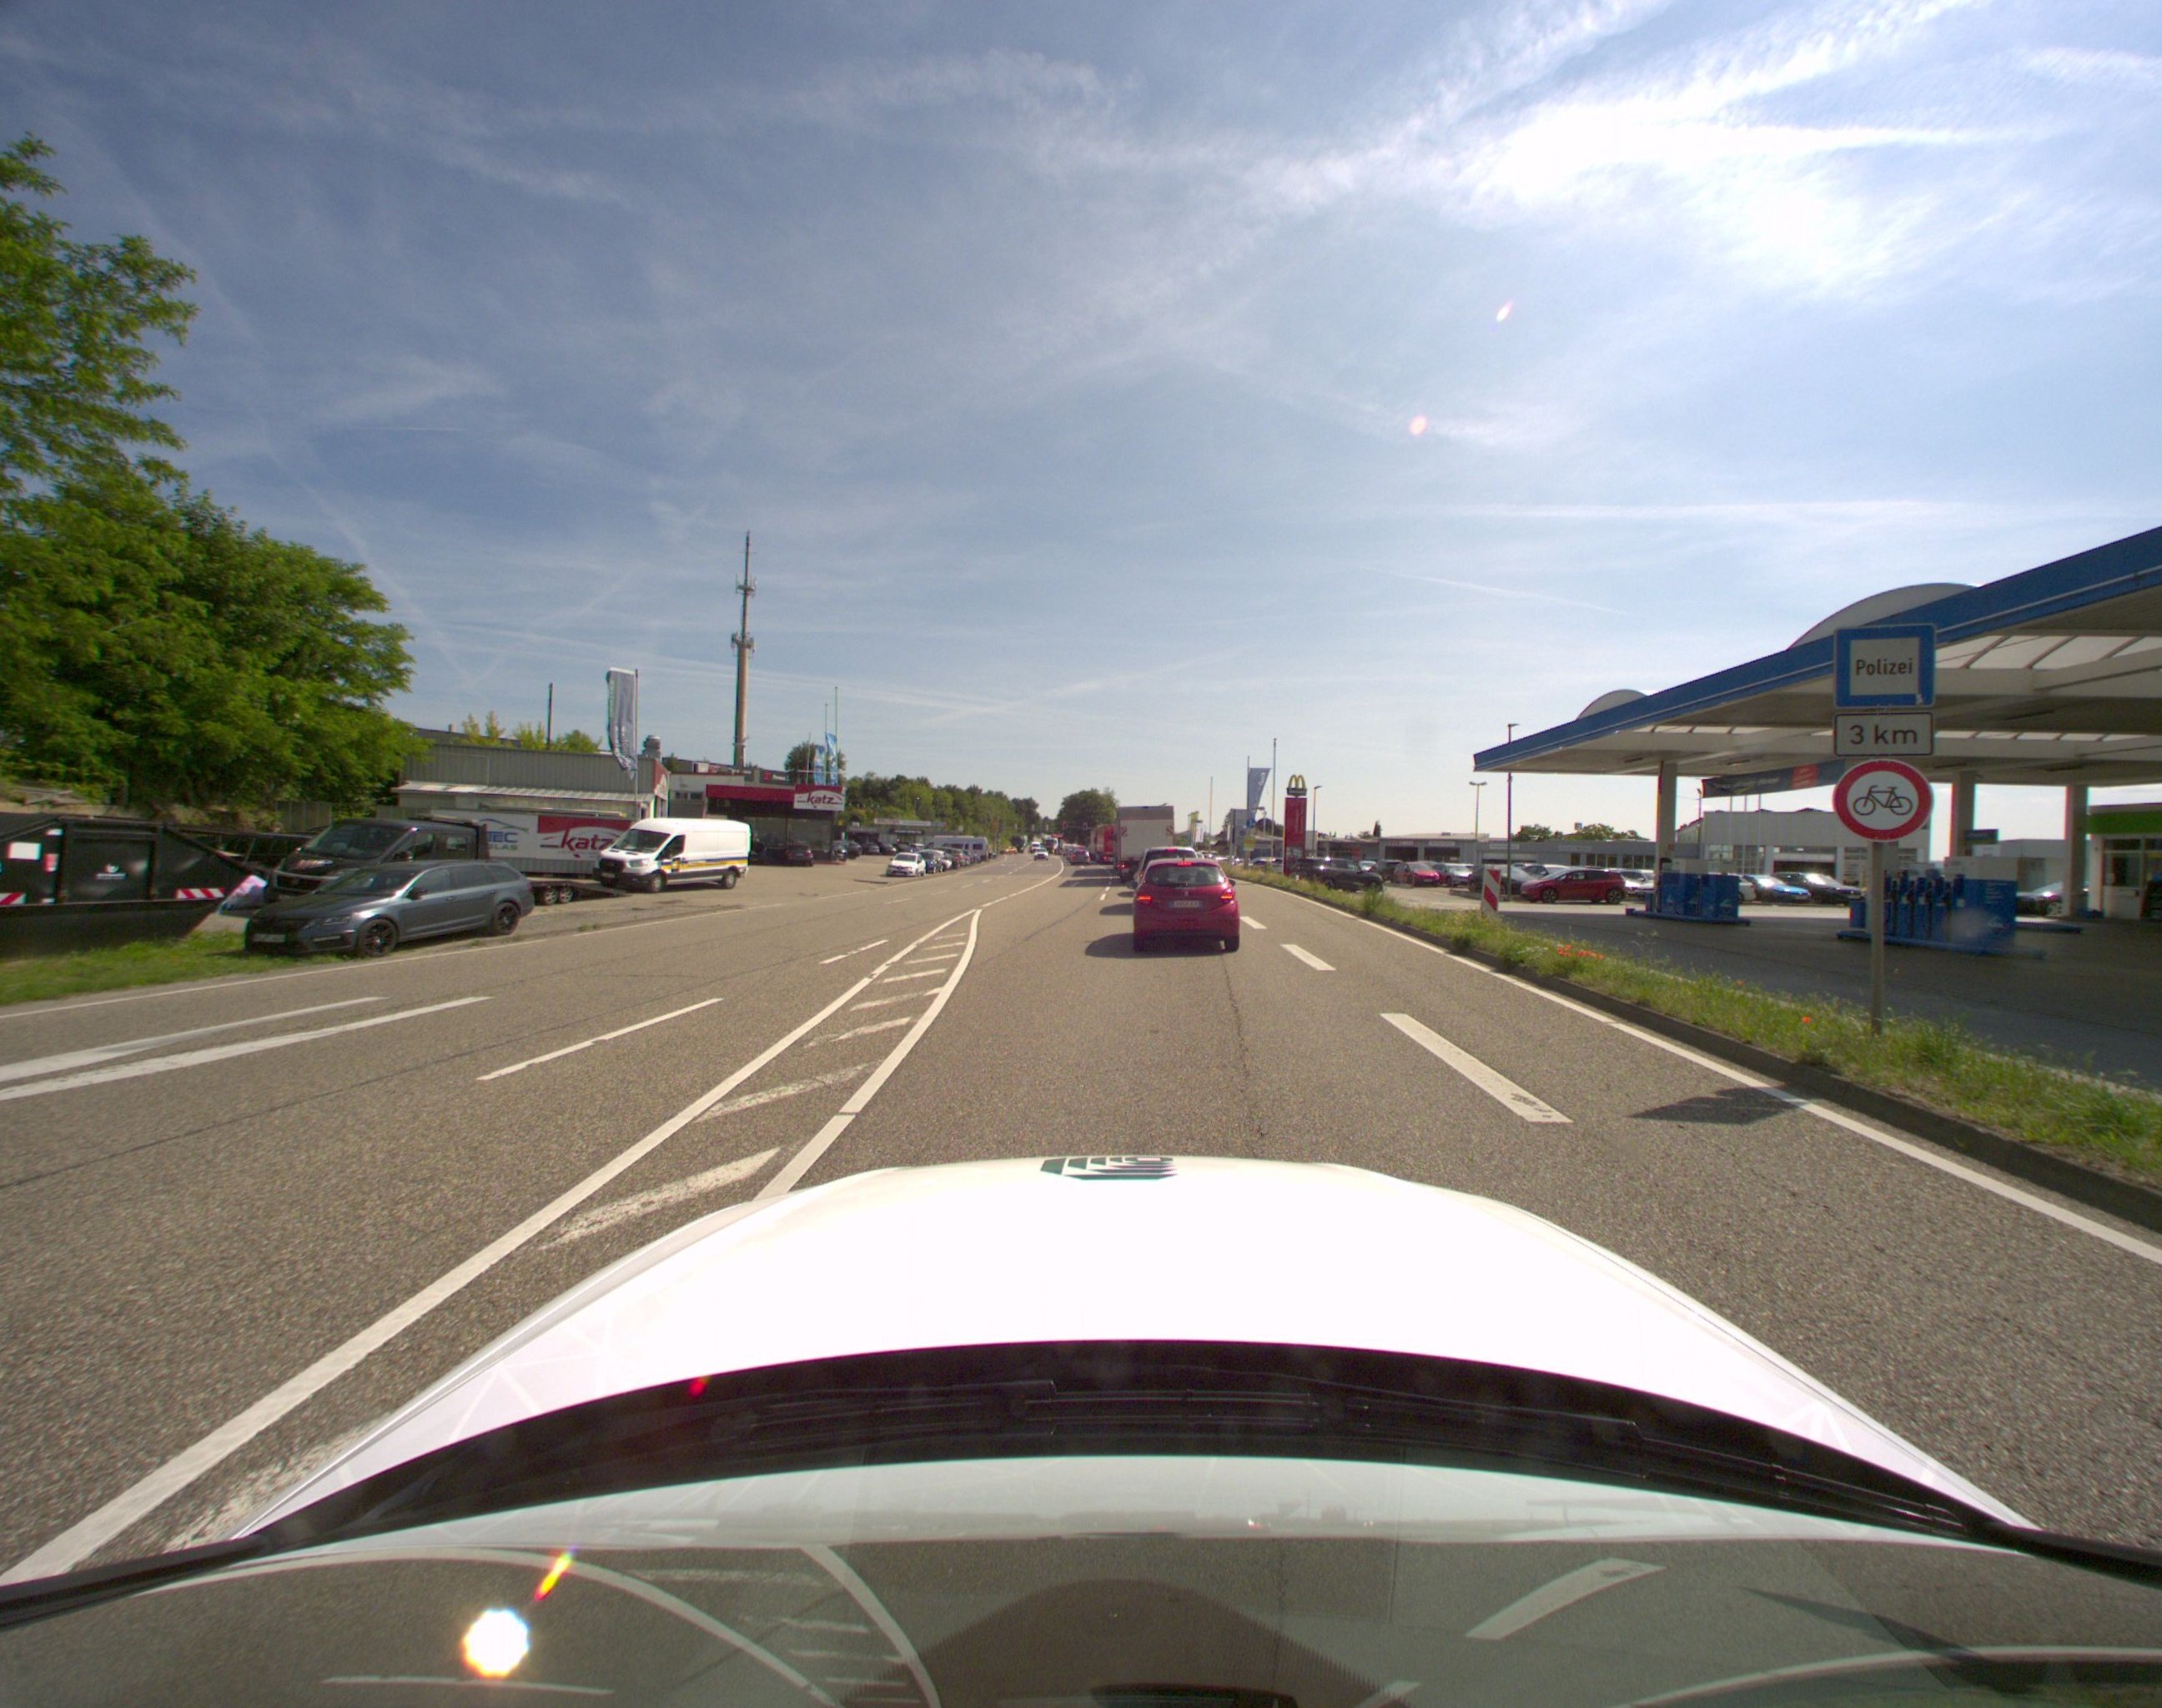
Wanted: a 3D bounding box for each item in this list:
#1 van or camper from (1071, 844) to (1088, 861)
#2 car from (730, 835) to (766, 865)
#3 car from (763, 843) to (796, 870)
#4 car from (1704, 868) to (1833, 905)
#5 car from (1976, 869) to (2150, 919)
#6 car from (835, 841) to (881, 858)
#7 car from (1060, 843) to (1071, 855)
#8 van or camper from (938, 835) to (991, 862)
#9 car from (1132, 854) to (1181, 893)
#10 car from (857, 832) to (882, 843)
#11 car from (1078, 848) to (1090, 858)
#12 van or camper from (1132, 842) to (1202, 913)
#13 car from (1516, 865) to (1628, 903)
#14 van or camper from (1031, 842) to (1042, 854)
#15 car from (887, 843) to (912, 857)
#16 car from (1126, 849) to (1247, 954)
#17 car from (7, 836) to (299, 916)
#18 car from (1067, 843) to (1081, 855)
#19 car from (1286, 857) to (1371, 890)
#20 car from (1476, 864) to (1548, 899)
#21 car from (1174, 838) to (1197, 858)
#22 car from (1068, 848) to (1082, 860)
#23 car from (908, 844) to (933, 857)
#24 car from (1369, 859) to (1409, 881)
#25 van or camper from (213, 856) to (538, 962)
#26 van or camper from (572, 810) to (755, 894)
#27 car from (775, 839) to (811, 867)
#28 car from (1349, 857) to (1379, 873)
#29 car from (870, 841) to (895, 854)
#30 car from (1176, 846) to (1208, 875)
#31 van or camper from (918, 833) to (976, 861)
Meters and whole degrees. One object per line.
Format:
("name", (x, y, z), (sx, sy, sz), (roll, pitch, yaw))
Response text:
("van or camper", (-0.170, -0.139, 94.687), (1.848, 1.905, 3.782), (1, 1, -2))
("car", (-20.865, -0.275, 50.899), (1.862, 1.504, 3.969), (5, 1, -24))
("car", (-21.429, 0.175, 57.789), (1.707, 1.759, 3.730), (4, -1, -26))
("car", (30.280, 1.426, 35.946), (4.312, 1.494, 1.564), (1, 0, 1))
("car", (35.553, 1.412, 29.577), (3.968, 1.637, 1.757), (1, 0, 5))
("car", (-20.994, -0.446, 76.551), (3.956, 1.532, 1.755), (0, 0, -25))
("car", (-2.594, -0.810, 135.250), (1.720, 1.909, 3.313), (1, 0, 2))
("van or camper", (-12.237, -0.605, 85.880), (5.229, 2.731, 2.210), (1, 0, -1))
("car", (3.002, 0.735, 33.161), (1.728, 1.428, 4.227), (1, 0, 2))
("car", (-28.487, -2.246, 109.726), (1.746, 1.450, 3.704), (2, 0, -43))
("car", (0.450, -0.148, 130.468), (1.722, 1.519, 3.309), (2, 0, -2))
("van or camper", (2.343, 0.583, 23.323), (1.739, 1.787, 5.138), (1, 0, 3))
("car", (21.779, 1.320, 36.275), (3.884, 1.572, 1.810), (1, 0, 5))
("van or camper", (-9.591, -1.275, 175.190), (2.168, 2.551, 4.167), (1, 1, -2))
("car", (-22.567, -0.511, 101.396), (1.776, 1.588, 3.788), (0, 1, -35))
("car", (1.759, 0.724, 14.223), (1.792, 1.572, 3.719), (-1, 0, 5))
("car", (-18.883, 0.434, 16.751), (3.658, 1.510, 1.712), (1, 0, -9))
("car", (-0.940, -0.668, 112.814), (1.719, 1.519, 3.315), (1, 0, 3))
("car", (11.461, 0.874, 37.759), (3.598, 1.409, 1.552), (-1, 0, -22))
("car", (21.222, 1.317, 40.291), (1.608, 1.594, 3.862), (-1, 0, 1))
("car", (9.558, -0.519, 74.290), (1.983, 1.750, 4.008), (1, 0, 7))
("car", (-0.800, 0.030, 102.833), (1.722, 1.519, 3.310), (1, 0, -2))
("car", (-20.266, -0.451, 102.779), (1.776, 1.588, 3.788), (0, 1, -35))
("car", (21.512, 1.077, 56.977), (1.552, 1.409, 3.597), (-1, 0, 1))
("van or camper", (-12.171, 0.834, 14.552), (1.632, 1.524, 4.473), (2, 0, 4))
("van or camper", (-14.339, -0.076, 28.523), (2.139, 2.498, 5.972), (5, 1, 14))
("car", (-18.538, -0.082, 52.345), (1.861, 1.504, 4.363), (3, 2, -23))
("car", (25.913, 1.010, 74.581), (1.552, 1.409, 3.597), (-1, 0, 1))
("car", (-24.366, -0.785, 99.729), (1.776, 1.588, 3.788), (0, 1, -35))
("car", (7.282, 0.422, 53.492), (1.983, 1.750, 4.008), (1, 0, 7))
("van or camper", (-14.465, -0.760, 88.234), (5.876, 2.873, 2.288), (1, 1, -2))
